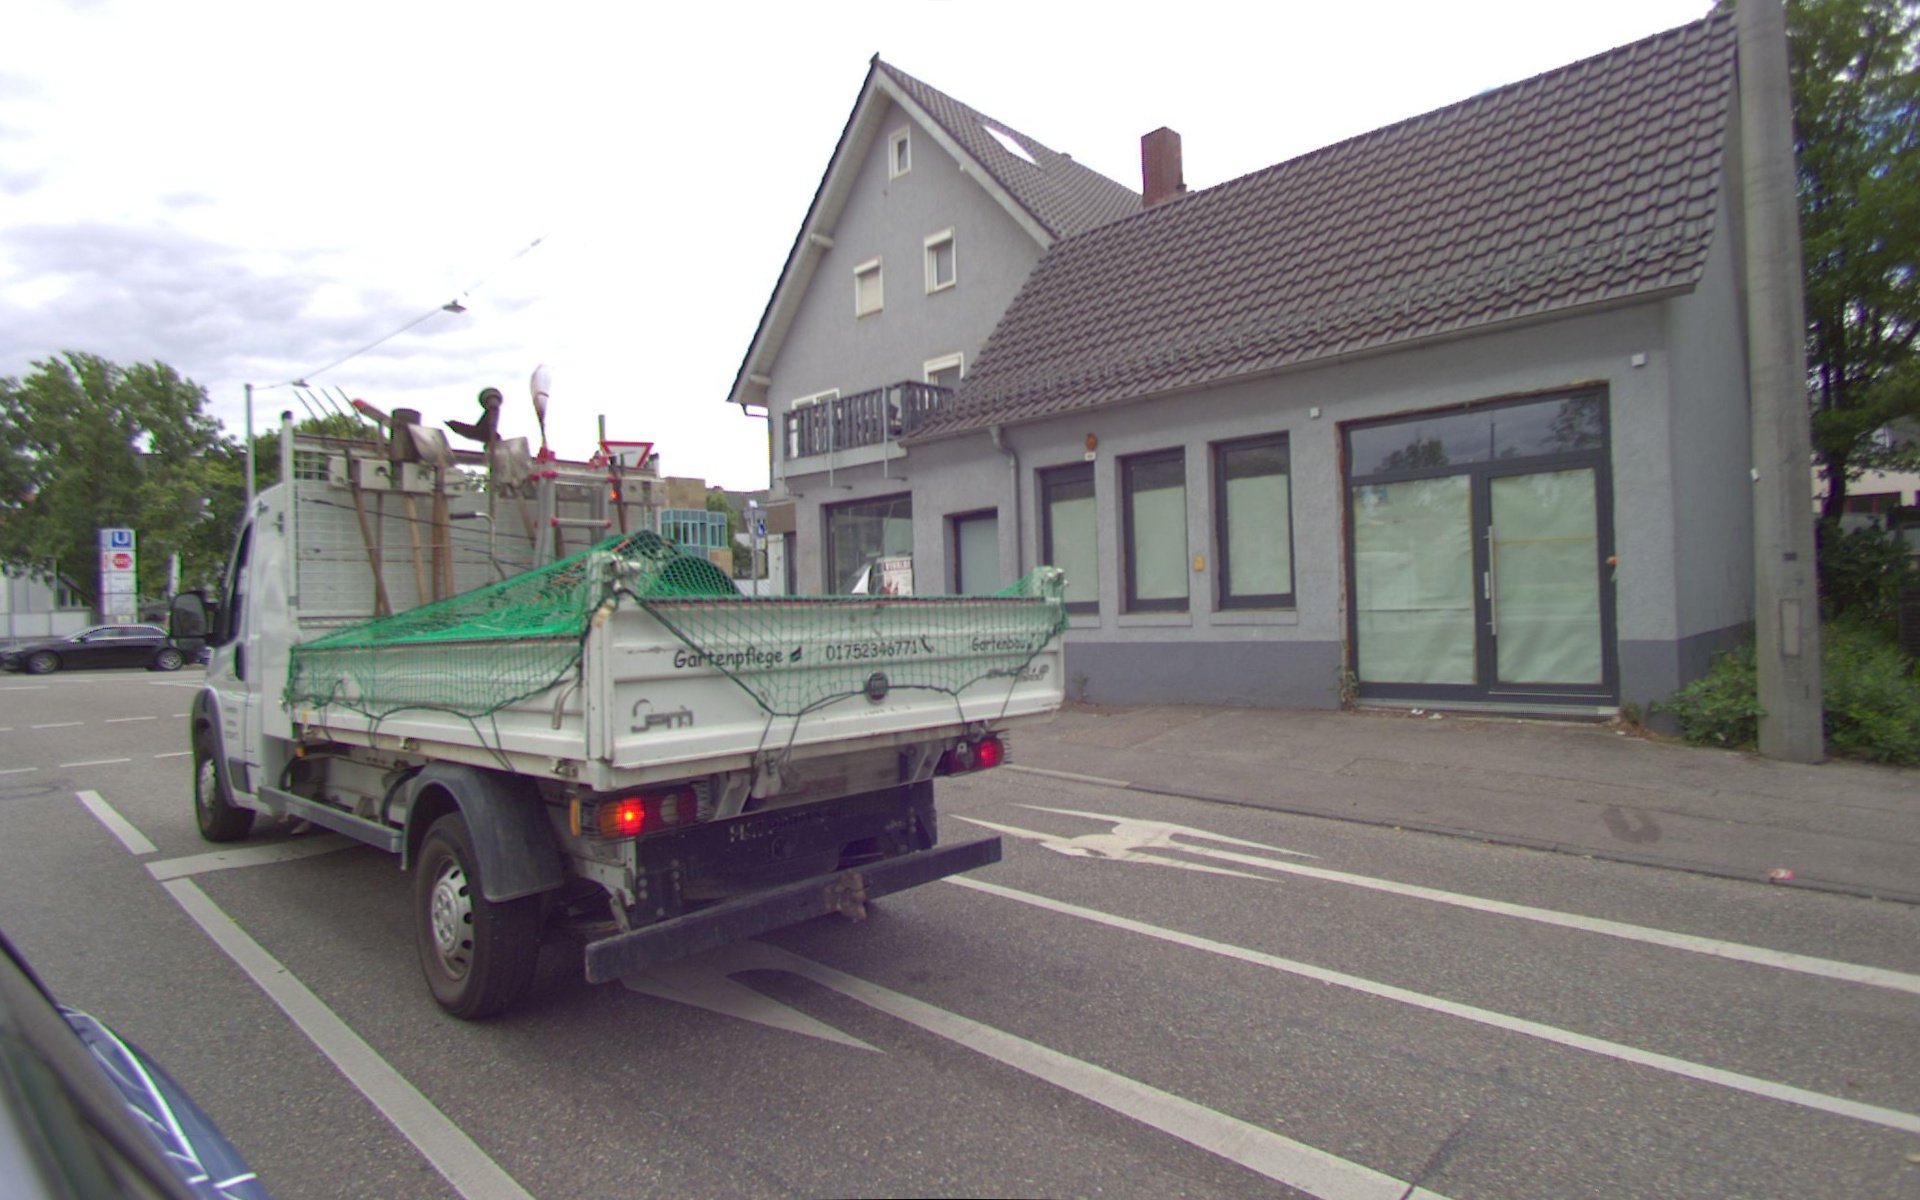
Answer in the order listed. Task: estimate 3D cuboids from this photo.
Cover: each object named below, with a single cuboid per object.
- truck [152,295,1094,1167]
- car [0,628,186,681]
[{"bbox_3d":[-2.575,0.359,5.622,6.591,2.218,2.097,-1,0,44],"label":"truck"},{"bbox_3d":[-23.806,1.445,27.759,1.667,1.321,3.863,-1,-2,42],"label":"car"}]
